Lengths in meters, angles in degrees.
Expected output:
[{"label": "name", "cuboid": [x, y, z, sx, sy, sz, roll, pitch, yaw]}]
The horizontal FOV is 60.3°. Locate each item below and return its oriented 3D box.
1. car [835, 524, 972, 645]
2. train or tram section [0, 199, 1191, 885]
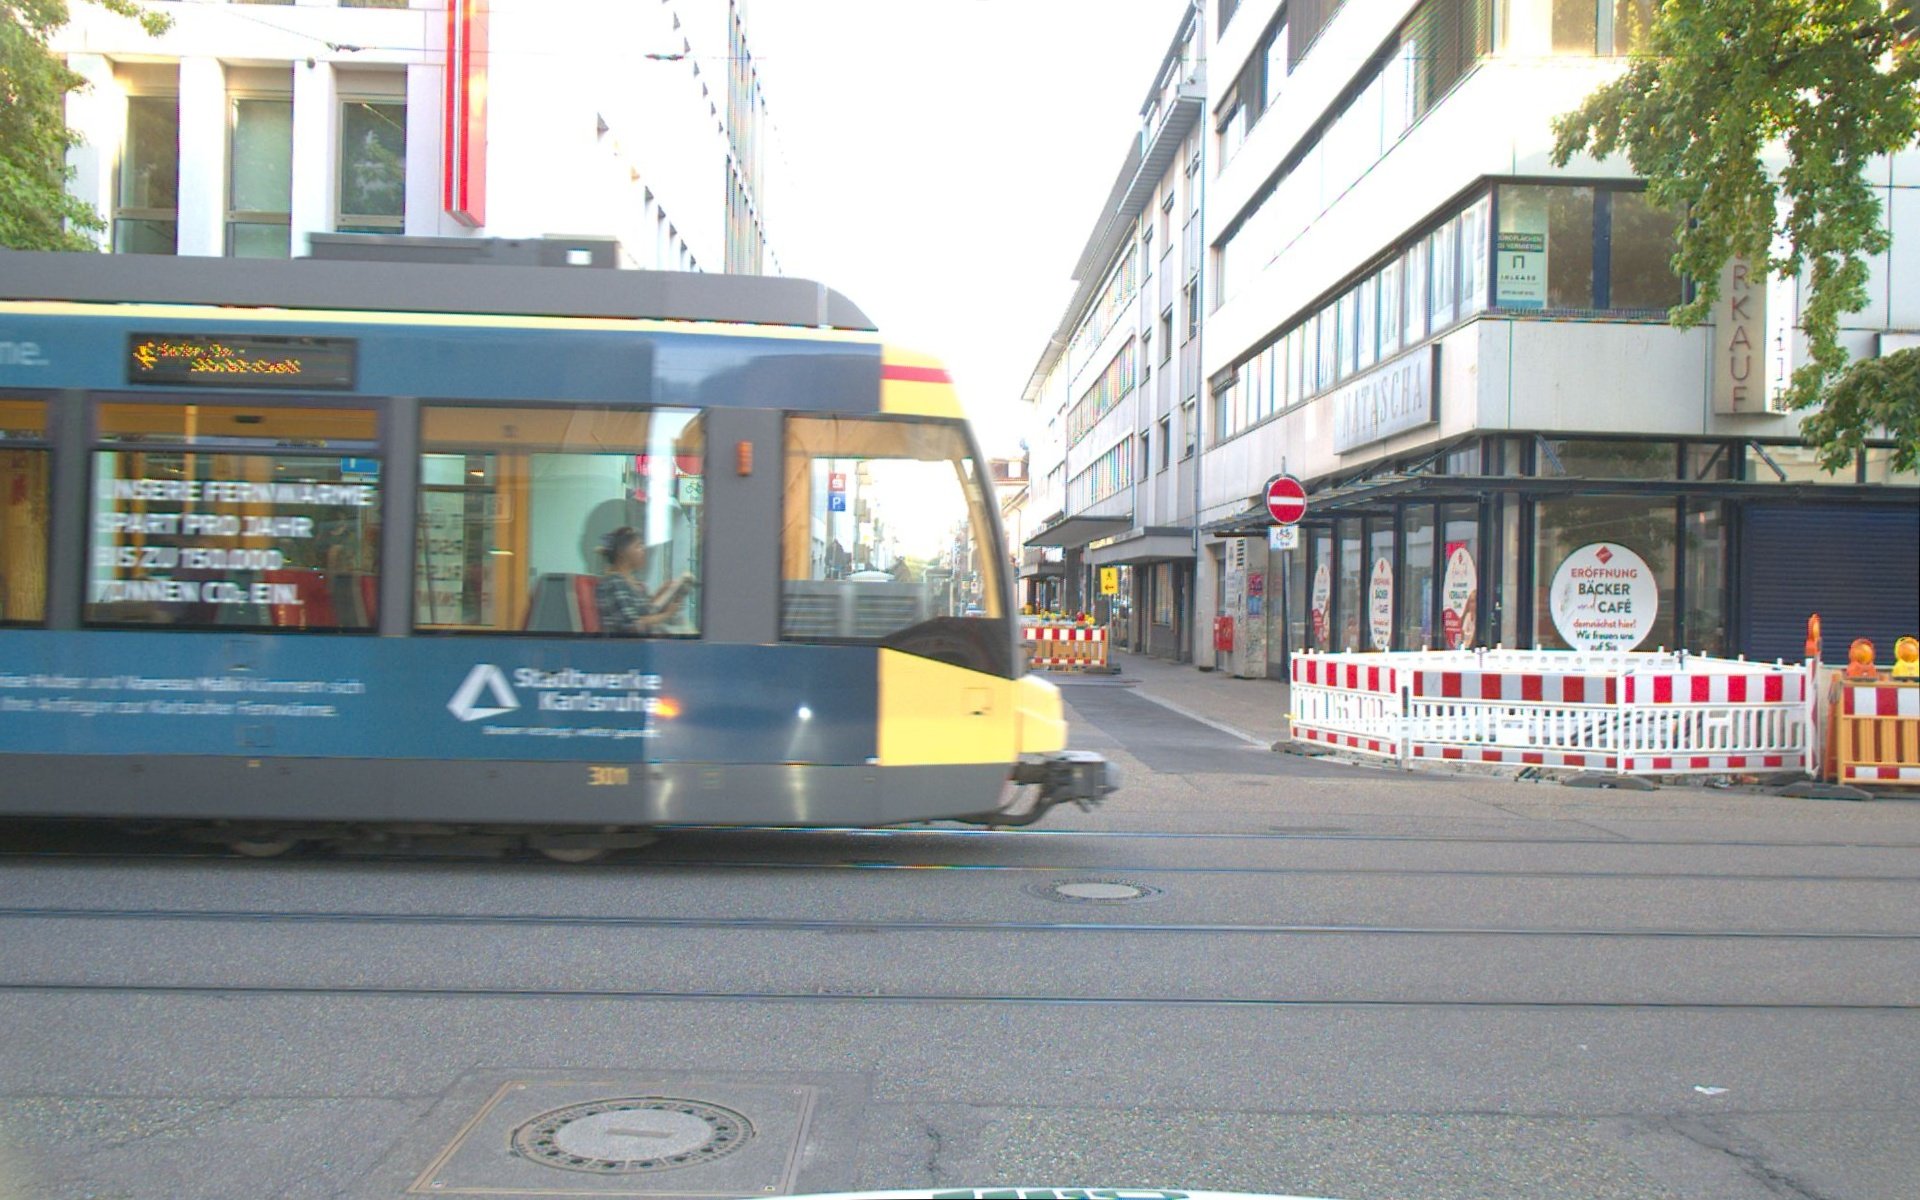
[{"label": "car", "cuboid": [-0.749, -0.195, 24.587, 1.858, 1.641, 4.152, 0, 0, 0]}, {"label": "train or tram section", "cuboid": [-3.866, -0.301, 10.262, 10.128, 3.585, 3.025, 1, 0, -2]}]
